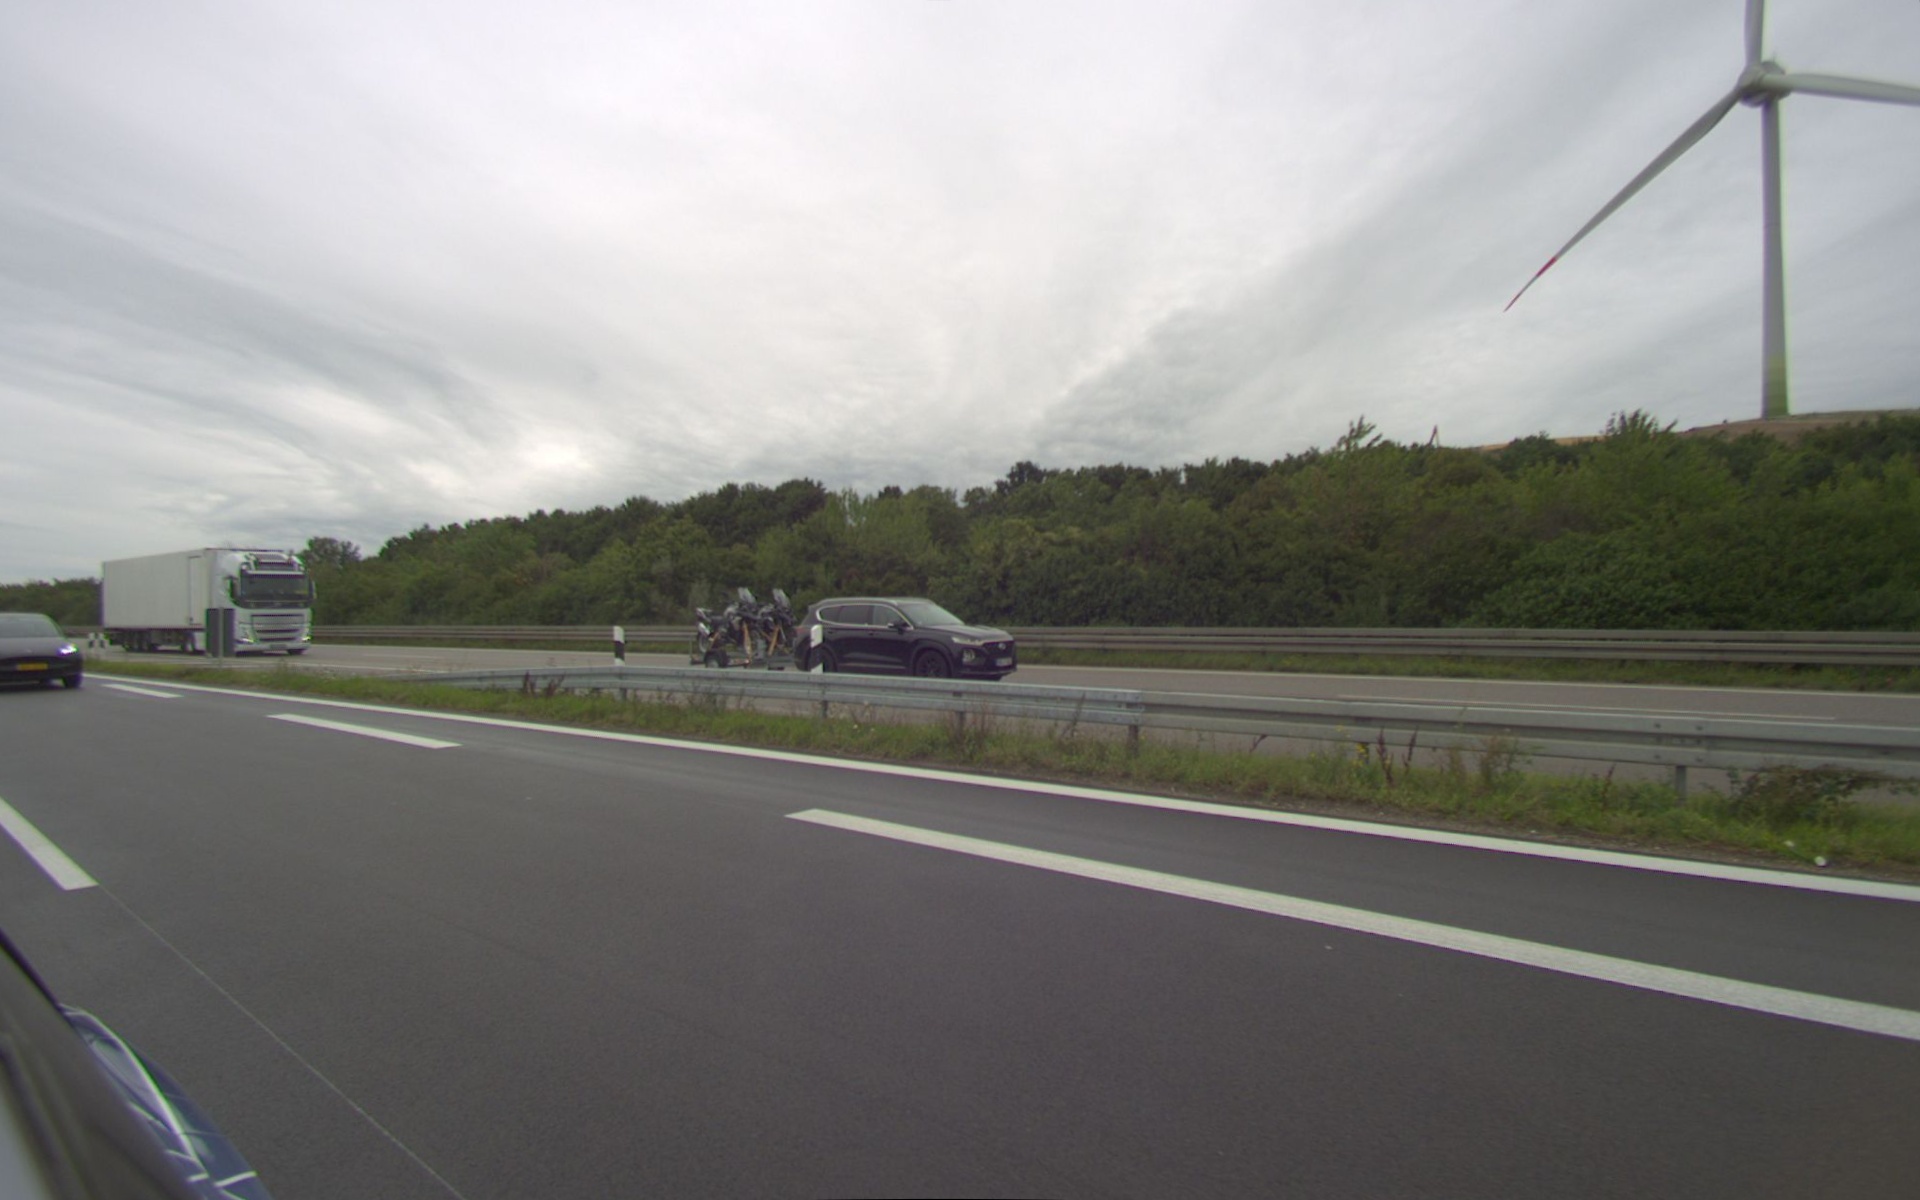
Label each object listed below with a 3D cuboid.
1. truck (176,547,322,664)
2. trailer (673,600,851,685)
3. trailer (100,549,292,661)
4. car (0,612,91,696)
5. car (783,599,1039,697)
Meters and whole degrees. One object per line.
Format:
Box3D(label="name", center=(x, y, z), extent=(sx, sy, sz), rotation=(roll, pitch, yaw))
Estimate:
Box3D(label="truck", center=(-27.484, 0.224, 39.042), extent=(6.433, 4.166, 2.741), rotation=(-1, 0, 37))
Box3D(label="trailer", center=(-4.292, 0.846, 21.762), extent=(3.606, 1.638, 1.864), rotation=(0, 0, 38))
Box3D(label="trailer", center=(-32.704, 0.266, 42.939), extent=(13.926, 4.166, 2.741), rotation=(-1, 0, 37))
Box3D(label="car", center=(-20.791, 1.119, 22.159), extent=(4.550, 1.650, 1.942), rotation=(0, 0, 40))
Box3D(label="car", center=(-1.026, 0.820, 19.203), extent=(4.800, 1.638, 1.864), rotation=(0, 0, 38))
